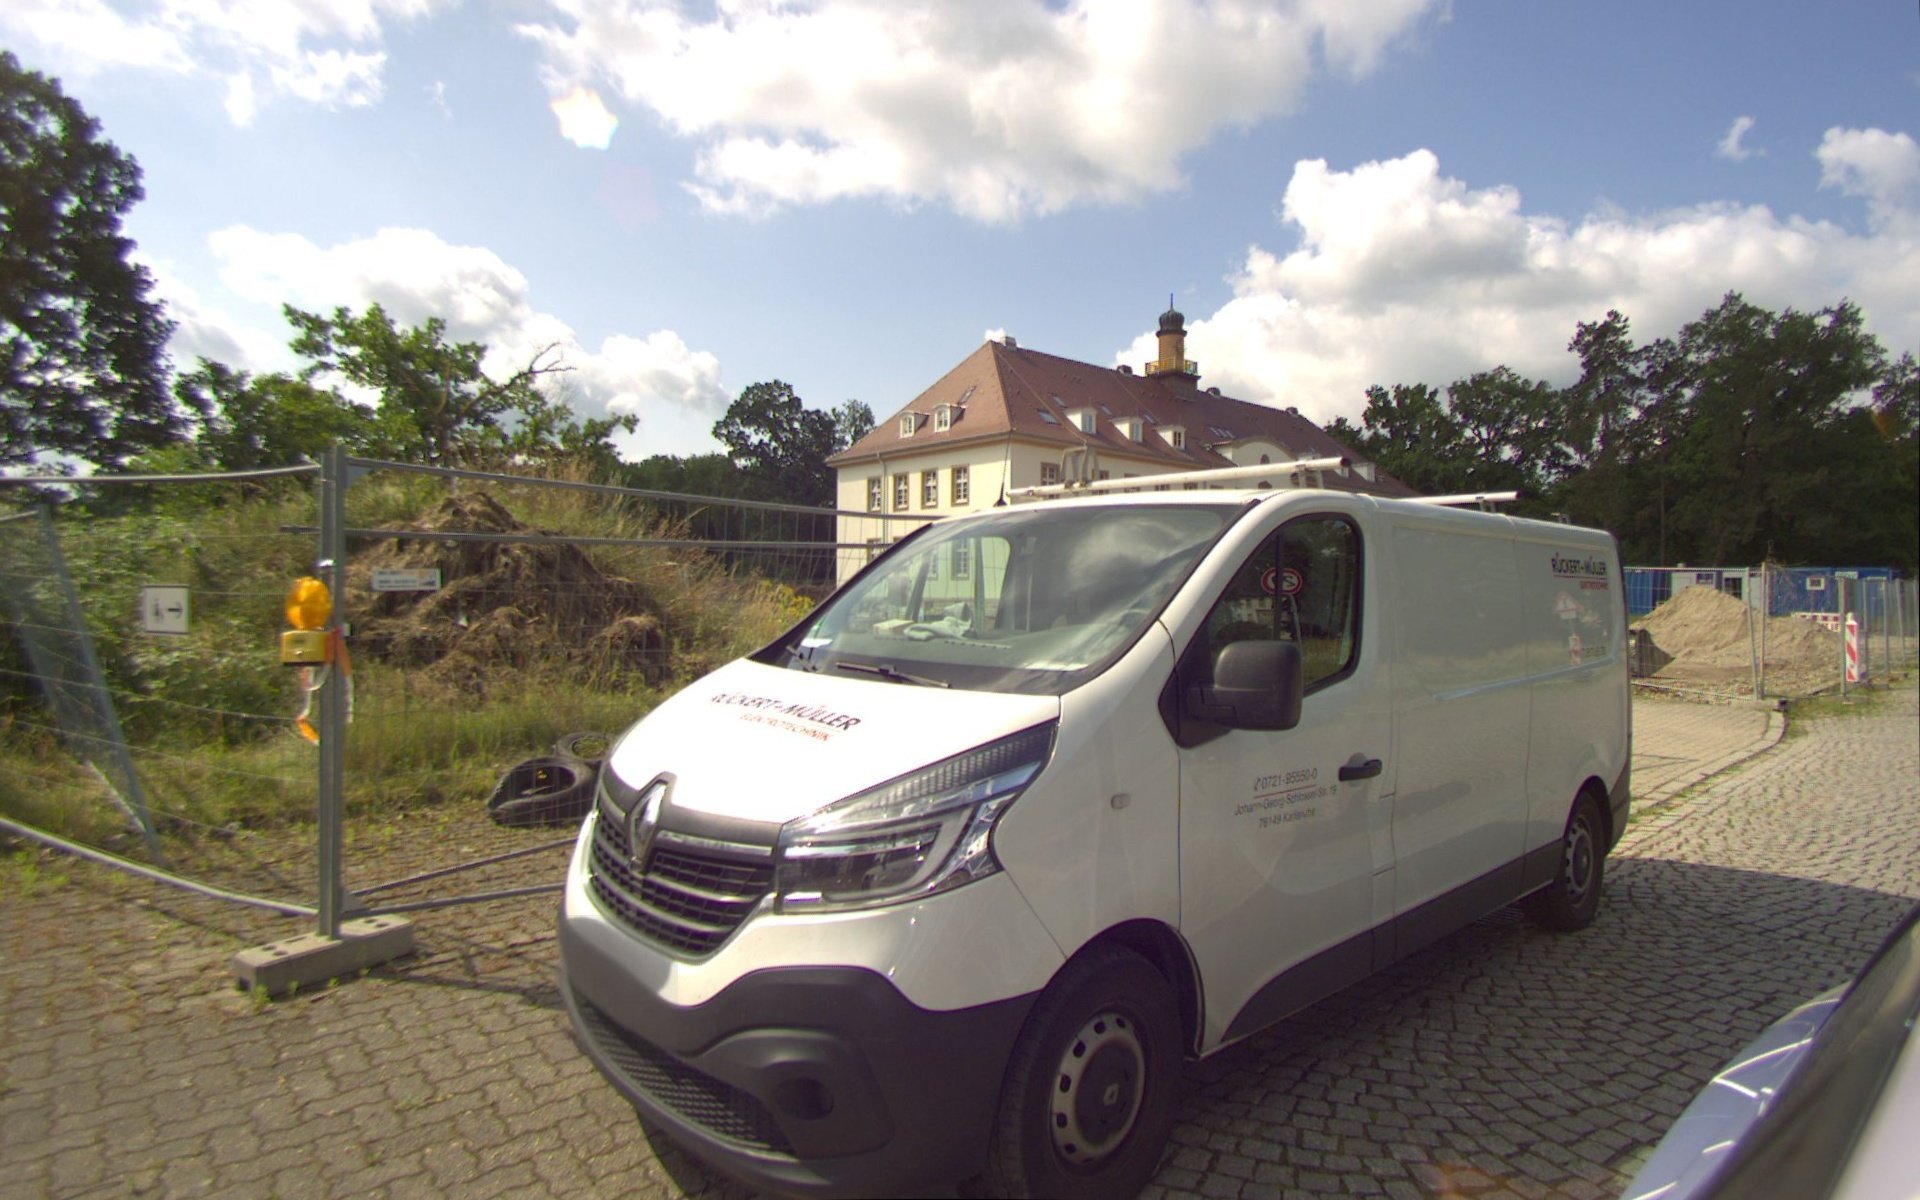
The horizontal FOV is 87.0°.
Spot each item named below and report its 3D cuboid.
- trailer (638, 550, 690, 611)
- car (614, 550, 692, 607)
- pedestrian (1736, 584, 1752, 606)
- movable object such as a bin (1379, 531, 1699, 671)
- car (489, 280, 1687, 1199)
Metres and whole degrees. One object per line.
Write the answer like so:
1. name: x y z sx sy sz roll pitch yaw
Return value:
1. trailer: -13.064 -0.852 44.496 1.920 2.503 4.855 0 1 -19
2. car: -15.064 -1.024 49.450 2.203 2.623 5.441 0 1 -33
3. pedestrian: 44.928 -0.283 58.010 0.671 1.259 0.601 0 -1 -43
4. movable object such as a bin: 11.573 0.038 20.349 5.537 2.553 2.154 1 0 -13
5. car: 1.202 0.438 4.372 5.579 2.079 1.917 0 1 -41
